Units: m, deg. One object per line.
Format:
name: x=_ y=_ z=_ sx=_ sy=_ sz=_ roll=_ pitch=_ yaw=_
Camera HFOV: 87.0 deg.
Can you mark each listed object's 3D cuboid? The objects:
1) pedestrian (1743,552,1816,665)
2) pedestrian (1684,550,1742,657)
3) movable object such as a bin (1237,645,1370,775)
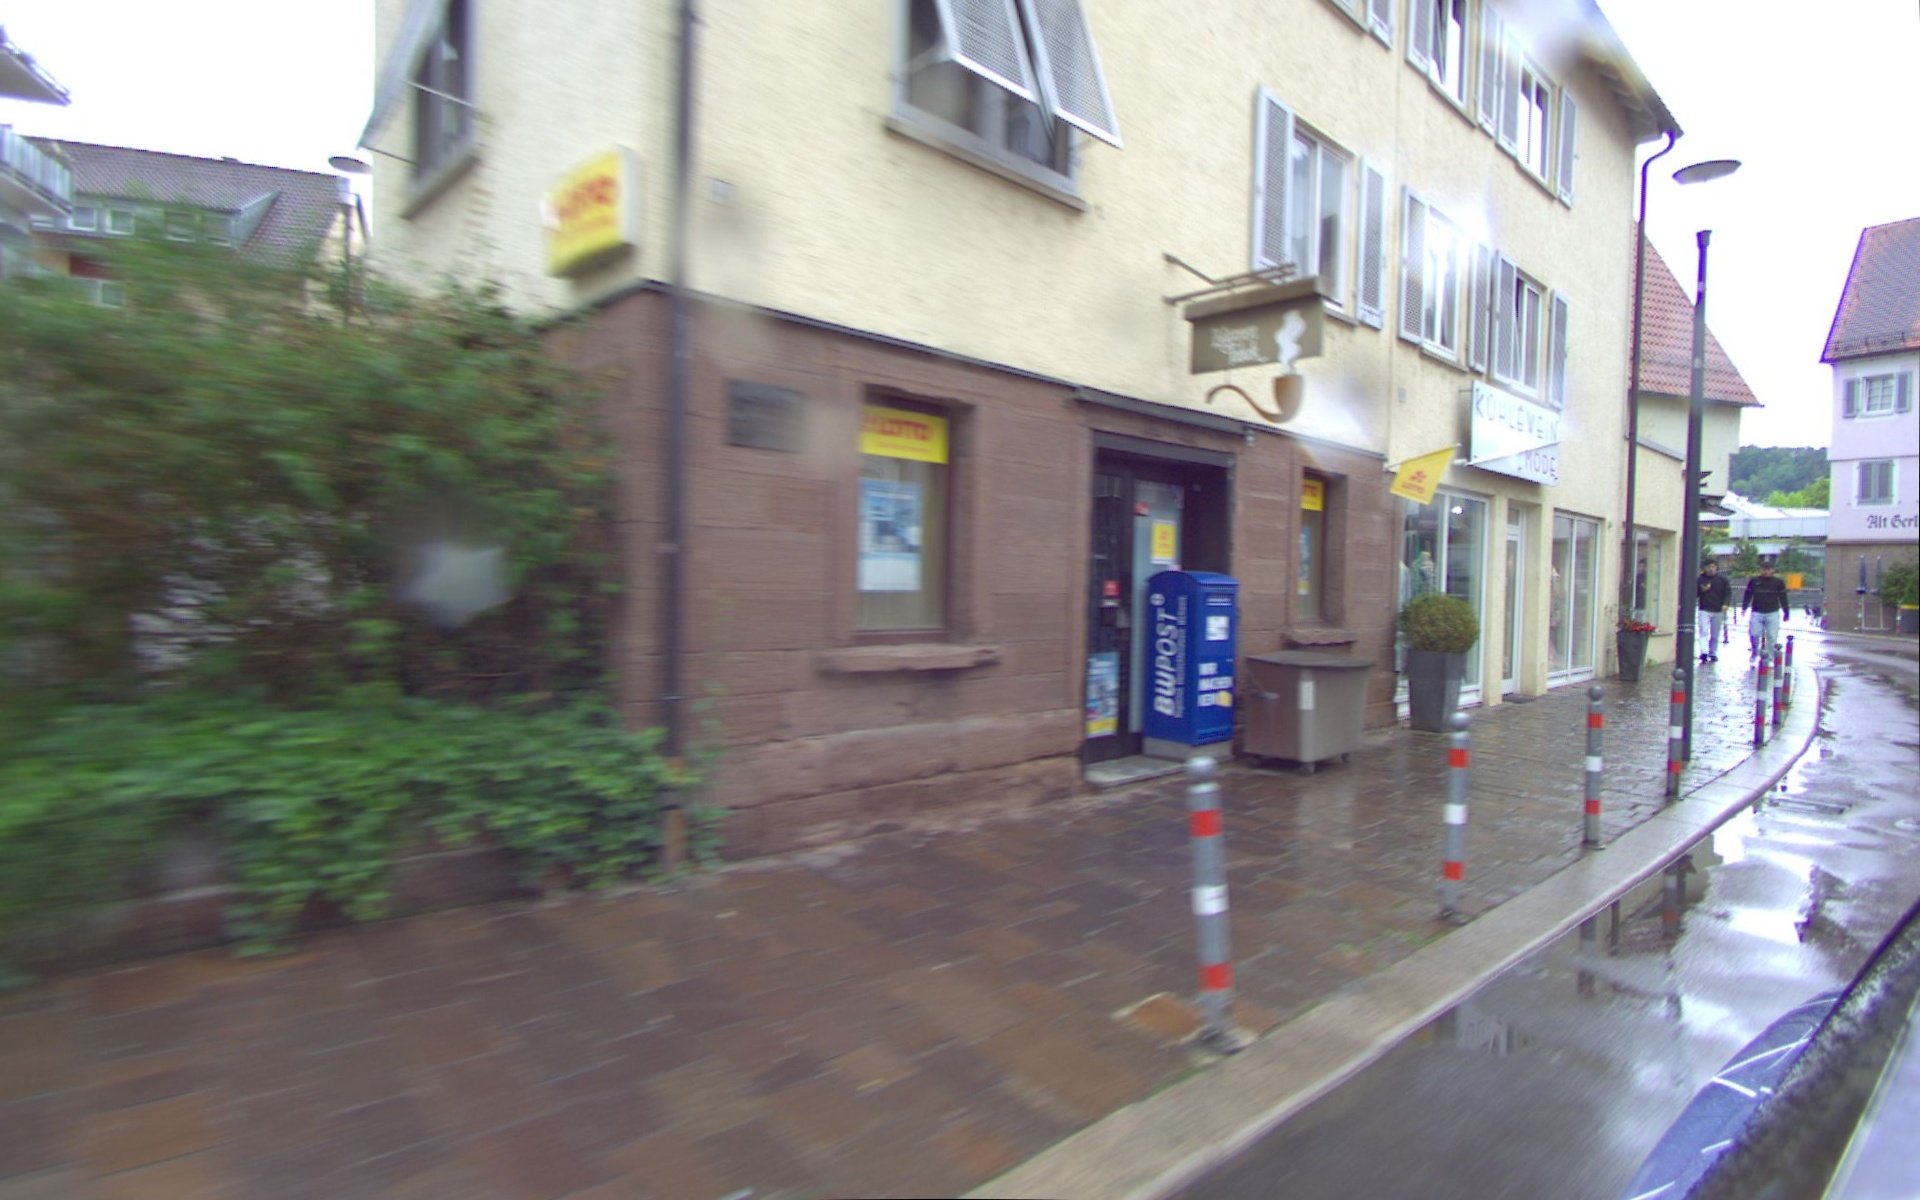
pedestrian: x=14.527 y=0.118 z=17.974 sx=0.767 sy=1.927 sz=0.798 roll=3 pitch=3 yaw=28
pedestrian: x=13.959 y=0.048 z=18.781 sx=0.650 sy=1.925 sz=0.653 roll=4 pitch=4 yaw=28
movable object such as a bin: x=2.612 y=0.805 z=7.685 sx=0.894 sy=0.846 sz=0.547 roll=0 pitch=3 yaw=-42
